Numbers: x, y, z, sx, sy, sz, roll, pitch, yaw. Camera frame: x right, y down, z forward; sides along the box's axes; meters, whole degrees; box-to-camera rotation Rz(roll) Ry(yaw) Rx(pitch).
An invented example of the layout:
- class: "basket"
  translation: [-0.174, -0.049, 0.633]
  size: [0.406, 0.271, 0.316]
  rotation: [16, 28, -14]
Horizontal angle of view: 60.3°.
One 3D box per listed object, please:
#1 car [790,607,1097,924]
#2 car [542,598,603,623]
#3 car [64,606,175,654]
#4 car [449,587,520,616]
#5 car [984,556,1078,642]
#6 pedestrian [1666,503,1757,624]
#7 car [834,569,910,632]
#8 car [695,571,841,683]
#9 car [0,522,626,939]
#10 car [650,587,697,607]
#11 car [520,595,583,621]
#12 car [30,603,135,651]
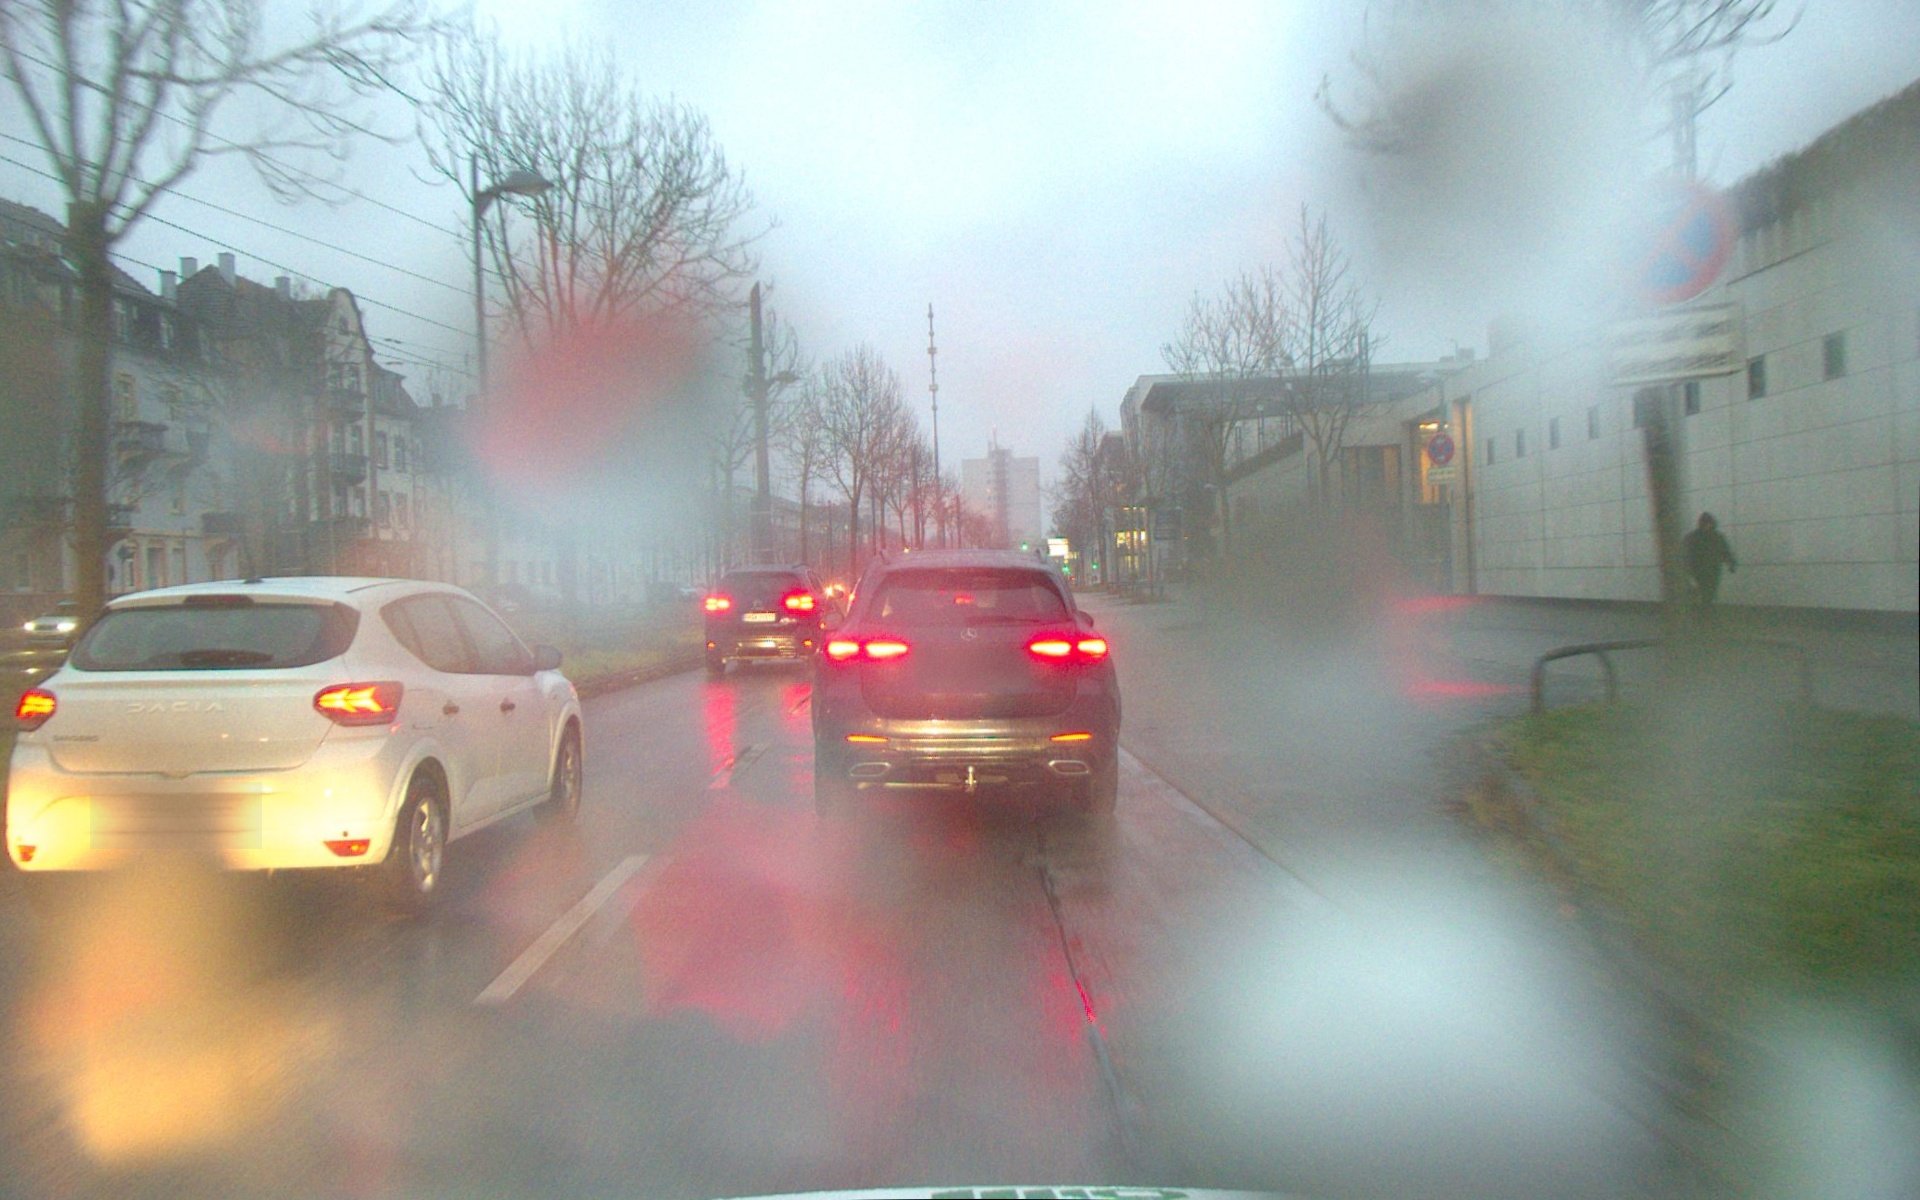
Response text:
- class: "car"
  translation: [0.021, 0.911, 11.005]
  size: [1.637, 1.628, 4.055]
  rotation: [-1, 1, 3]
- class: "car"
  translation: [-23.706, 0.646, 101.142]
  size: [3.486, 1.377, 1.775]
  rotation: [-2, 1, 37]
- class: "car"
  translation: [-27.881, 0.973, 54.974]
  size: [1.739, 1.377, 3.558]
  rotation: [-3, 1, 2]
- class: "car"
  translation: [-24.881, 0.075, 86.552]
  size: [3.486, 1.377, 1.775]
  rotation: [-2, 1, 37]
- class: "car"
  translation: [1.643, -0.058, 37.705]
  size: [1.952, 1.774, 4.002]
  rotation: [-2, 1, 3]
- class: "pedestrian"
  translation: [10.637, -0.517, 23.426]
  size: [0.918, 1.646, 0.695]
  rotation: [-3, 1, 0]
- class: "car"
  translation: [-2.372, -0.005, 45.509]
  size: [1.637, 1.628, 4.055]
  rotation: [-1, 1, 3]
- class: "car"
  translation: [-3.007, 0.374, 26.618]
  size: [1.637, 1.628, 4.055]
  rotation: [-1, 1, 3]
- class: "car"
  translation: [-3.049, 0.496, 8.600]
  size: [1.637, 1.628, 4.055]
  rotation: [-1, 1, 2]
- class: "car"
  translation: [-22.811, -0.227, 131.620]
  size: [3.486, 1.377, 1.775]
  rotation: [-2, 1, 37]
- class: "car"
  translation: [-24.004, 0.459, 97.204]
  size: [3.486, 1.377, 1.775]
  rotation: [-2, 1, 37]
- class: "car"
  translation: [-31.729, 0.958, 59.915]
  size: [1.739, 1.526, 3.558]
  rotation: [-3, 1, 2]
